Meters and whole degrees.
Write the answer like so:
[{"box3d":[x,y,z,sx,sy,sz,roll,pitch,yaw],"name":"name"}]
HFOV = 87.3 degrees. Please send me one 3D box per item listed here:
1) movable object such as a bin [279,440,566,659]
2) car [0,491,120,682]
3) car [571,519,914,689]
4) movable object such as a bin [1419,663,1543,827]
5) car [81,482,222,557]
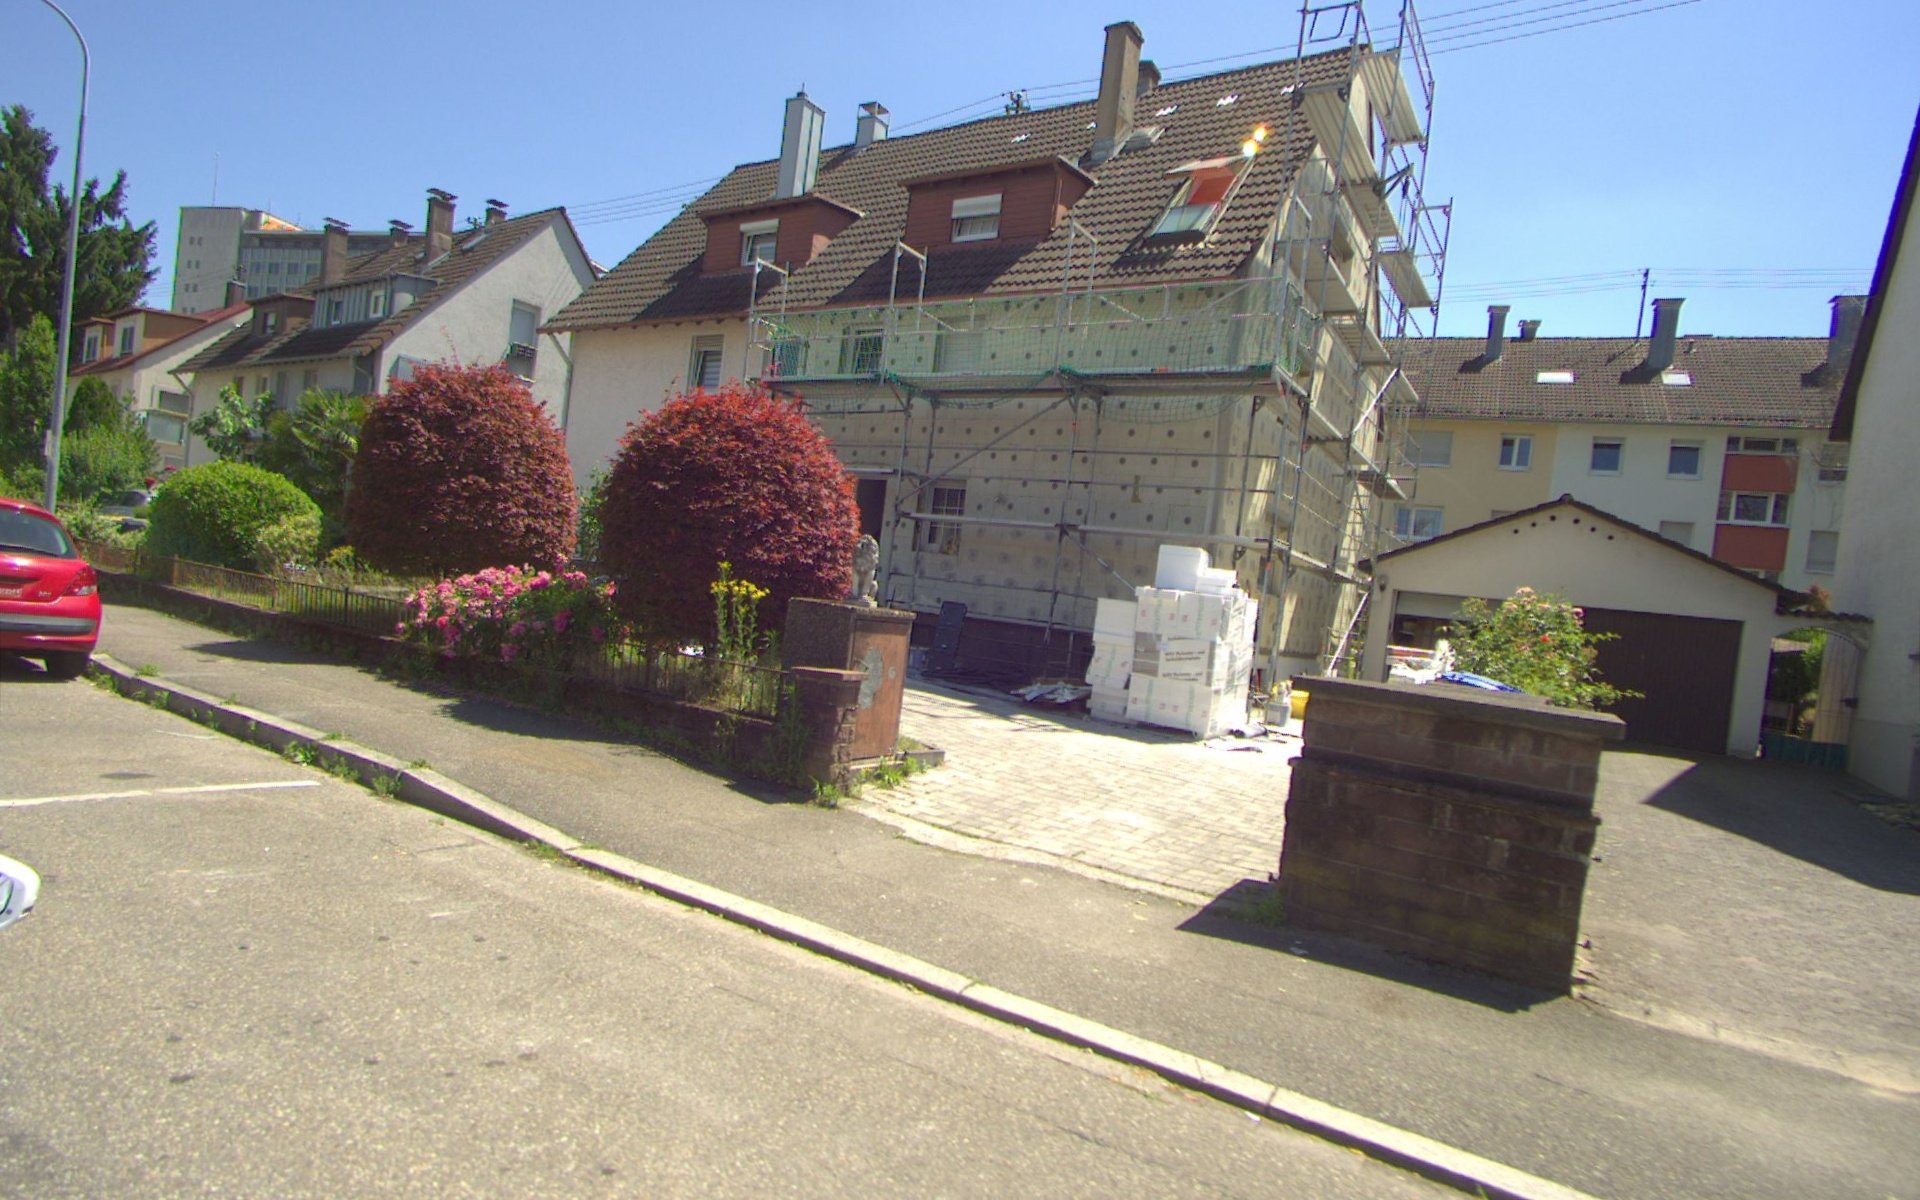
[{"box3d":[-7.967,-0.666,15.148,1.679,2.780,3.150,7,0,31],"name":"movable object such as a bin"},{"box3d":[-9.265,-0.315,8.896,3.936,1.471,1.666,7,-2,34],"name":"car"},{"box3d":[-2.778,0.000,12.641,3.932,1.530,1.795,8,3,30],"name":"car"},{"box3d":[4.563,1.233,8.805,0.737,1.236,0.756,7,5,37],"name":"movable object such as a bin"},{"box3d":[-21.847,-2.187,27.159,3.936,1.589,1.795,6,0,34],"name":"car"}]
